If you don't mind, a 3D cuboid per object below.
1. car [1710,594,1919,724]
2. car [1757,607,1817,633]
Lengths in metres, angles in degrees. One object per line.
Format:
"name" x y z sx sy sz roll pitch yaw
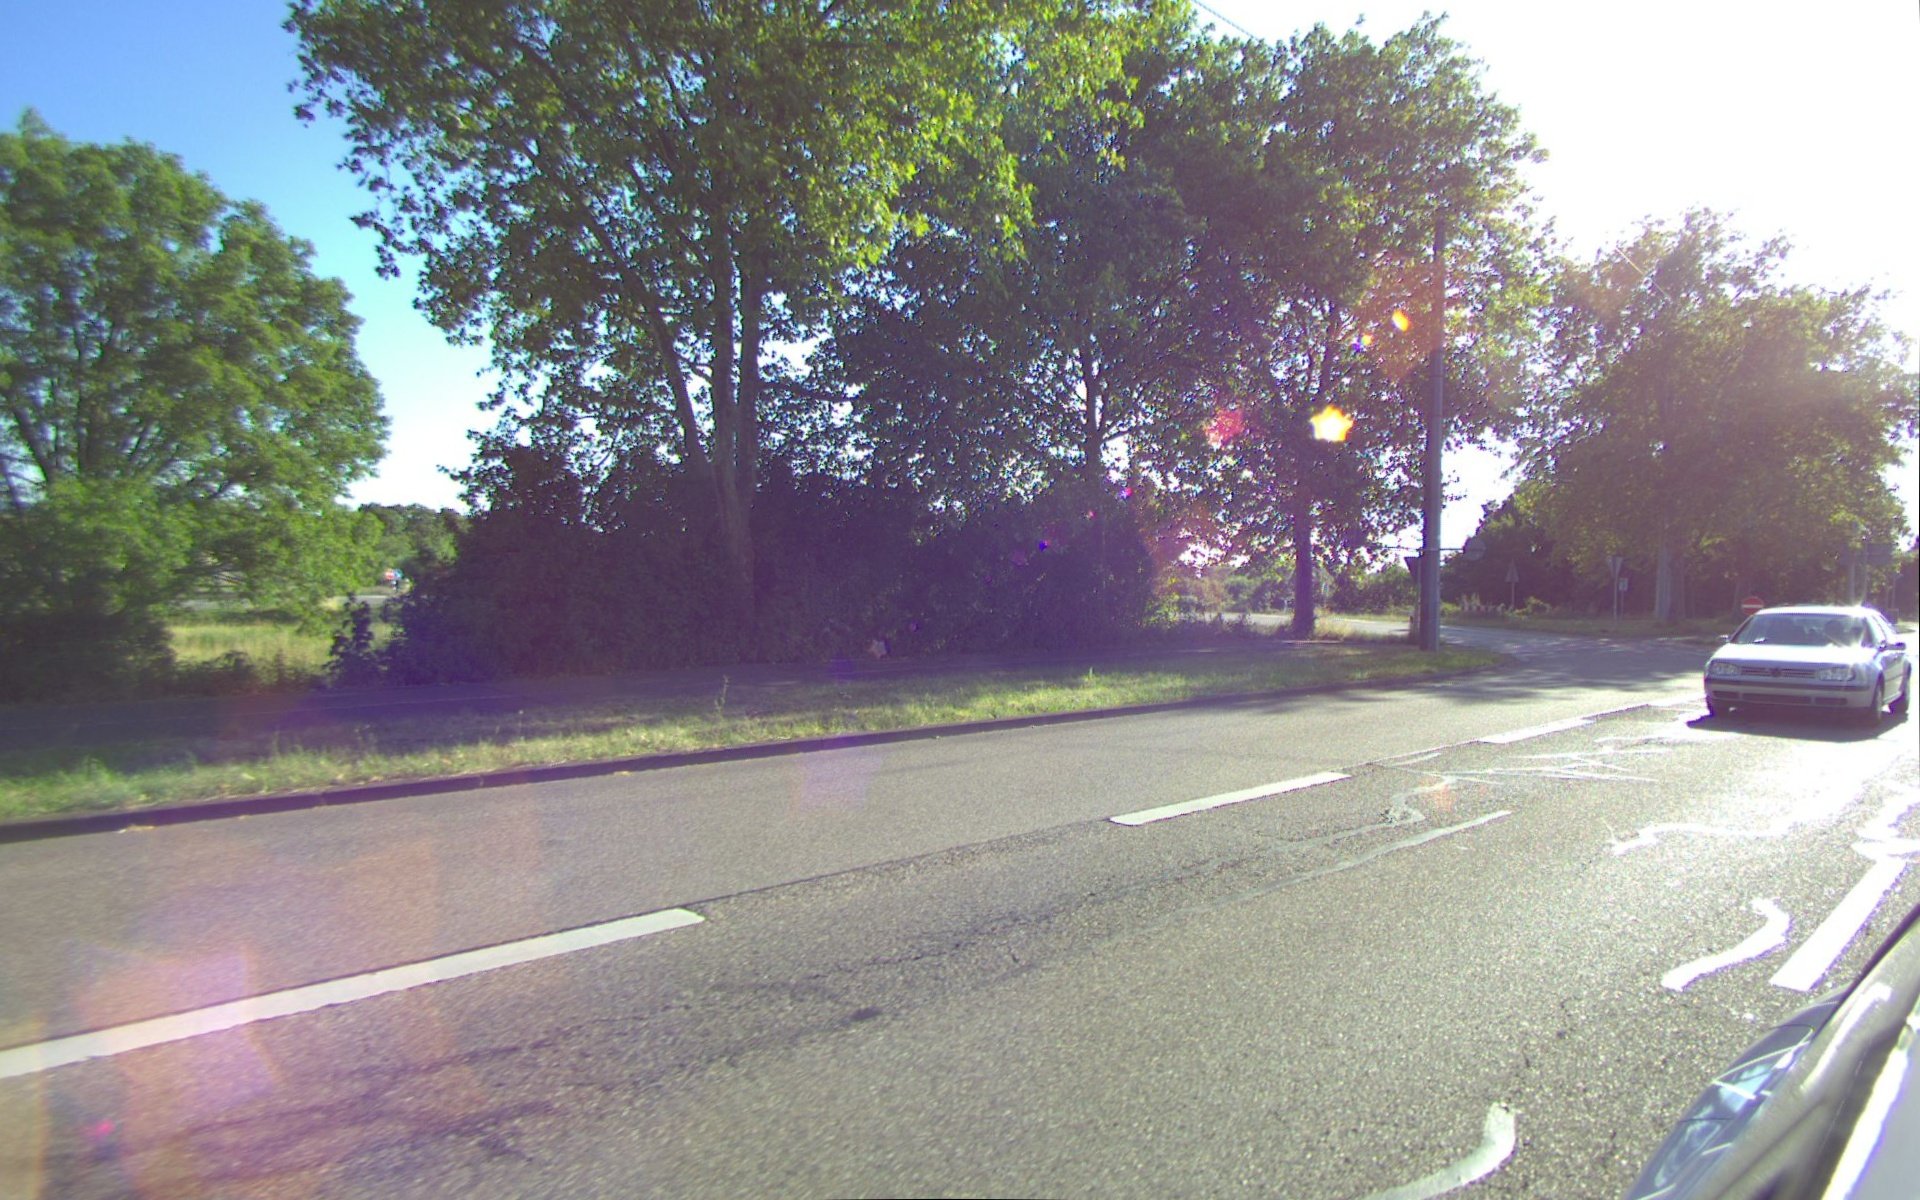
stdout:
"car" 11.565 0.661 13.448 3.930 1.463 1.694 0 1 -40
"car" 50.334 1.174 61.583 4.575 1.461 1.881 0 1 -38
